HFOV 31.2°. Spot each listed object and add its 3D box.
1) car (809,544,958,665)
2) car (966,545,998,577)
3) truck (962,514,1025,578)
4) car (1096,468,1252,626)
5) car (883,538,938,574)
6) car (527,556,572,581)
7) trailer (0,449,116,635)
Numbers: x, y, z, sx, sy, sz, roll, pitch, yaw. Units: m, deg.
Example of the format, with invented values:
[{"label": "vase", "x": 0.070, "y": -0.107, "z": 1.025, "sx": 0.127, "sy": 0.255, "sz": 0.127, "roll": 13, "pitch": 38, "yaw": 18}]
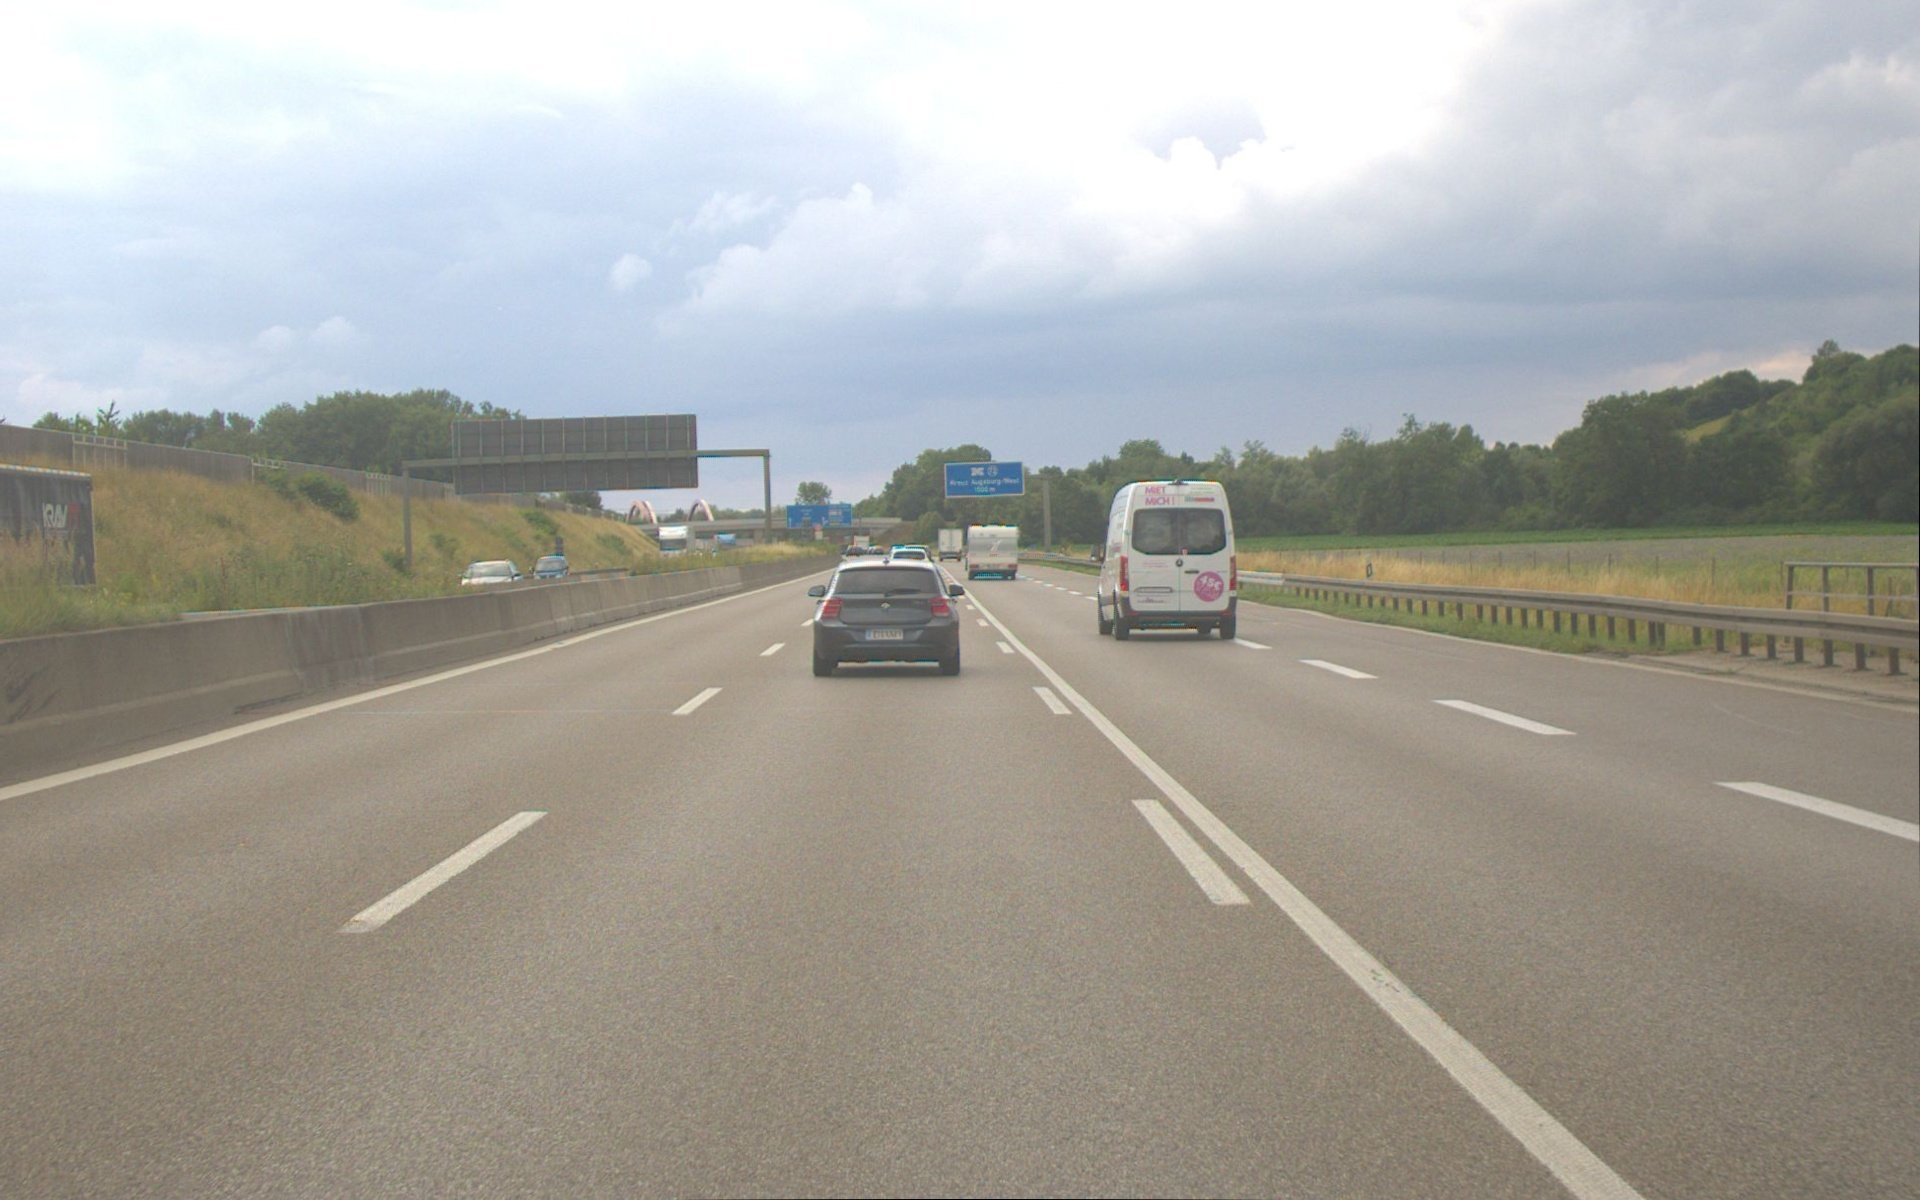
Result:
[{"label": "car", "x": -0.918, "y": 0.021, "z": 42.371, "sx": 1.743, "sy": 1.384, "sz": 4.000, "roll": 0, "pitch": 1, "yaw": -1}, {"label": "car", "x": 1.408, "y": -2.522, "z": 221.713, "sx": 1.993, "sy": 2.007, "sz": 4.000, "roll": -1, "pitch": 1, "yaw": -1}, {"label": "truck", "x": 1.548, "y": -2.607, "z": 165.567, "sx": 2.710, "sy": 2.954, "sz": 12.448, "roll": 1, "pitch": 1, "yaw": -1}, {"label": "car", "x": 3.624, "y": -0.920, "z": 59.236, "sx": 2.221, "sy": 2.559, "sz": 6.256, "roll": 0, "pitch": 1, "yaw": -1}, {"label": "car", "x": -1.871, "y": -1.673, "z": 129.656, "sx": 1.993, "sy": 1.293, "sz": 4.000, "roll": -2, "pitch": 1, "yaw": -1}, {"label": "car", "x": -22.567, "y": -1.744, "z": 189.137, "sx": 1.993, "sy": 1.359, "sz": 4.941, "roll": 1, "pitch": 1, "yaw": -1}, {"label": "trailer", "x": -22.314, "y": -1.327, "z": 77.124, "sx": 3.671, "sy": 3.967, "sz": 12.679, "roll": 1, "pitch": 1, "yaw": 0}]
